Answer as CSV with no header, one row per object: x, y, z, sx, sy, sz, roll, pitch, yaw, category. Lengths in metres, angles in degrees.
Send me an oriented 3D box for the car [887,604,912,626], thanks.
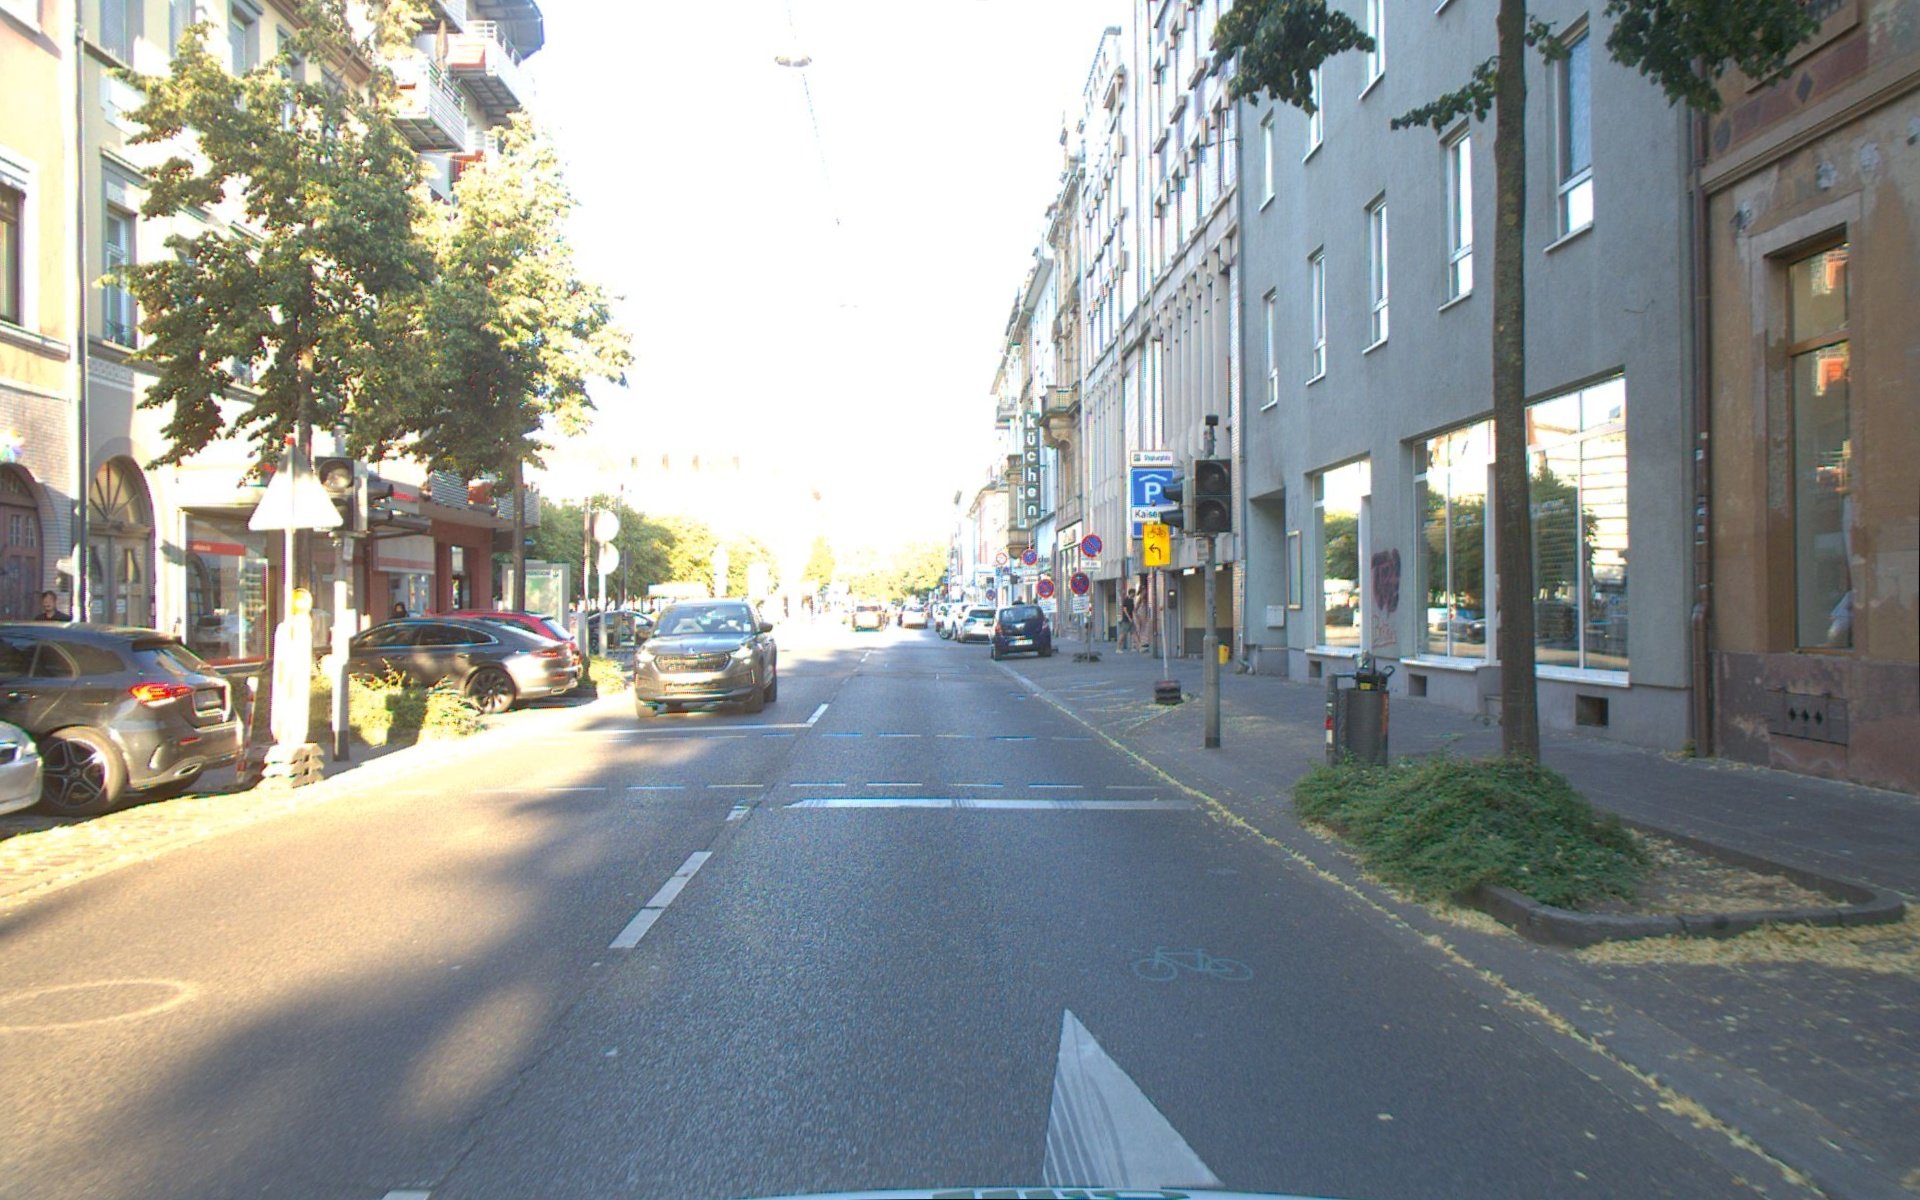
-4.707,1.169,128.645,1.859,1.609,3.850,2,0,-2,car

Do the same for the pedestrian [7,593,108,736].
-11.317,0.799,20.774,0.756,1.752,0.875,1,-2,-2,pedestrian

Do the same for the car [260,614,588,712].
-8.177,0.951,25.564,4.479,1.432,1.820,0,0,-4,car

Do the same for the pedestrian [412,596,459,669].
-11.398,0.714,35.949,0.719,1.555,0.875,1,-2,-2,pedestrian

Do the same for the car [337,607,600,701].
-8.414,0.908,28.576,3.990,1.563,1.883,0,0,-2,car

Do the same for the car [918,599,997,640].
-0.134,0.879,75.254,1.967,1.792,4.432,-1,0,-24,car

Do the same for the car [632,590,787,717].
-3.697,0.743,25.138,1.824,1.722,4.458,-1,0,-2,car

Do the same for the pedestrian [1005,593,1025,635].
2.494,0.641,74.573,0.757,1.859,1.010,-2,0,-3,pedestrian

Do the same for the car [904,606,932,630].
-2.967,1.250,115.196,1.858,1.609,3.998,1,0,-2,car

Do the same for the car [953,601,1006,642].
0.758,0.867,67.047,1.724,1.563,4.817,1,-1,-4,car

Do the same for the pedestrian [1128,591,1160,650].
5.090,0.560,45.789,0.595,1.627,0.770,0,0,-19,pedestrian

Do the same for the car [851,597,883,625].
-5.613,0.659,100.180,1.858,1.678,4.102,0,0,-2,car

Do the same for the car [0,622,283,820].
-7.731,0.898,13.021,4.026,1.428,1.882,0,0,-5,car

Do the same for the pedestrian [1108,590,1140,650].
4.509,0.541,45.518,0.595,1.627,0.770,0,0,-19,pedestrian

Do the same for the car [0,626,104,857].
-8.017,0.911,10.662,4.013,1.428,1.843,-1,0,-1,car

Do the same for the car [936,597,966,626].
-0.557,0.714,101.185,1.695,1.679,4.282,1,0,-2,car

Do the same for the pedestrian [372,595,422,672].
-12.146,0.728,35.701,0.756,1.636,0.875,1,-2,-2,pedestrian

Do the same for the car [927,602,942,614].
-3.430,1.050,219.212,1.859,1.609,3.850,-1,0,-2,car

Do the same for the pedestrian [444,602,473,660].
-14.235,0.892,46.965,0.584,1.623,0.701,-1,-2,-1,pedestrian

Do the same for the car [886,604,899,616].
-9.174,1.320,223.350,1.744,1.574,3.998,0,0,-3,car

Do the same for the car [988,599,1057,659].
1.786,0.810,48.531,1.723,1.563,3.999,-4,0,-1,car

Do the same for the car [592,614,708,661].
-11.064,1.324,59.243,3.910,1.609,1.900,1,-1,-6,car
